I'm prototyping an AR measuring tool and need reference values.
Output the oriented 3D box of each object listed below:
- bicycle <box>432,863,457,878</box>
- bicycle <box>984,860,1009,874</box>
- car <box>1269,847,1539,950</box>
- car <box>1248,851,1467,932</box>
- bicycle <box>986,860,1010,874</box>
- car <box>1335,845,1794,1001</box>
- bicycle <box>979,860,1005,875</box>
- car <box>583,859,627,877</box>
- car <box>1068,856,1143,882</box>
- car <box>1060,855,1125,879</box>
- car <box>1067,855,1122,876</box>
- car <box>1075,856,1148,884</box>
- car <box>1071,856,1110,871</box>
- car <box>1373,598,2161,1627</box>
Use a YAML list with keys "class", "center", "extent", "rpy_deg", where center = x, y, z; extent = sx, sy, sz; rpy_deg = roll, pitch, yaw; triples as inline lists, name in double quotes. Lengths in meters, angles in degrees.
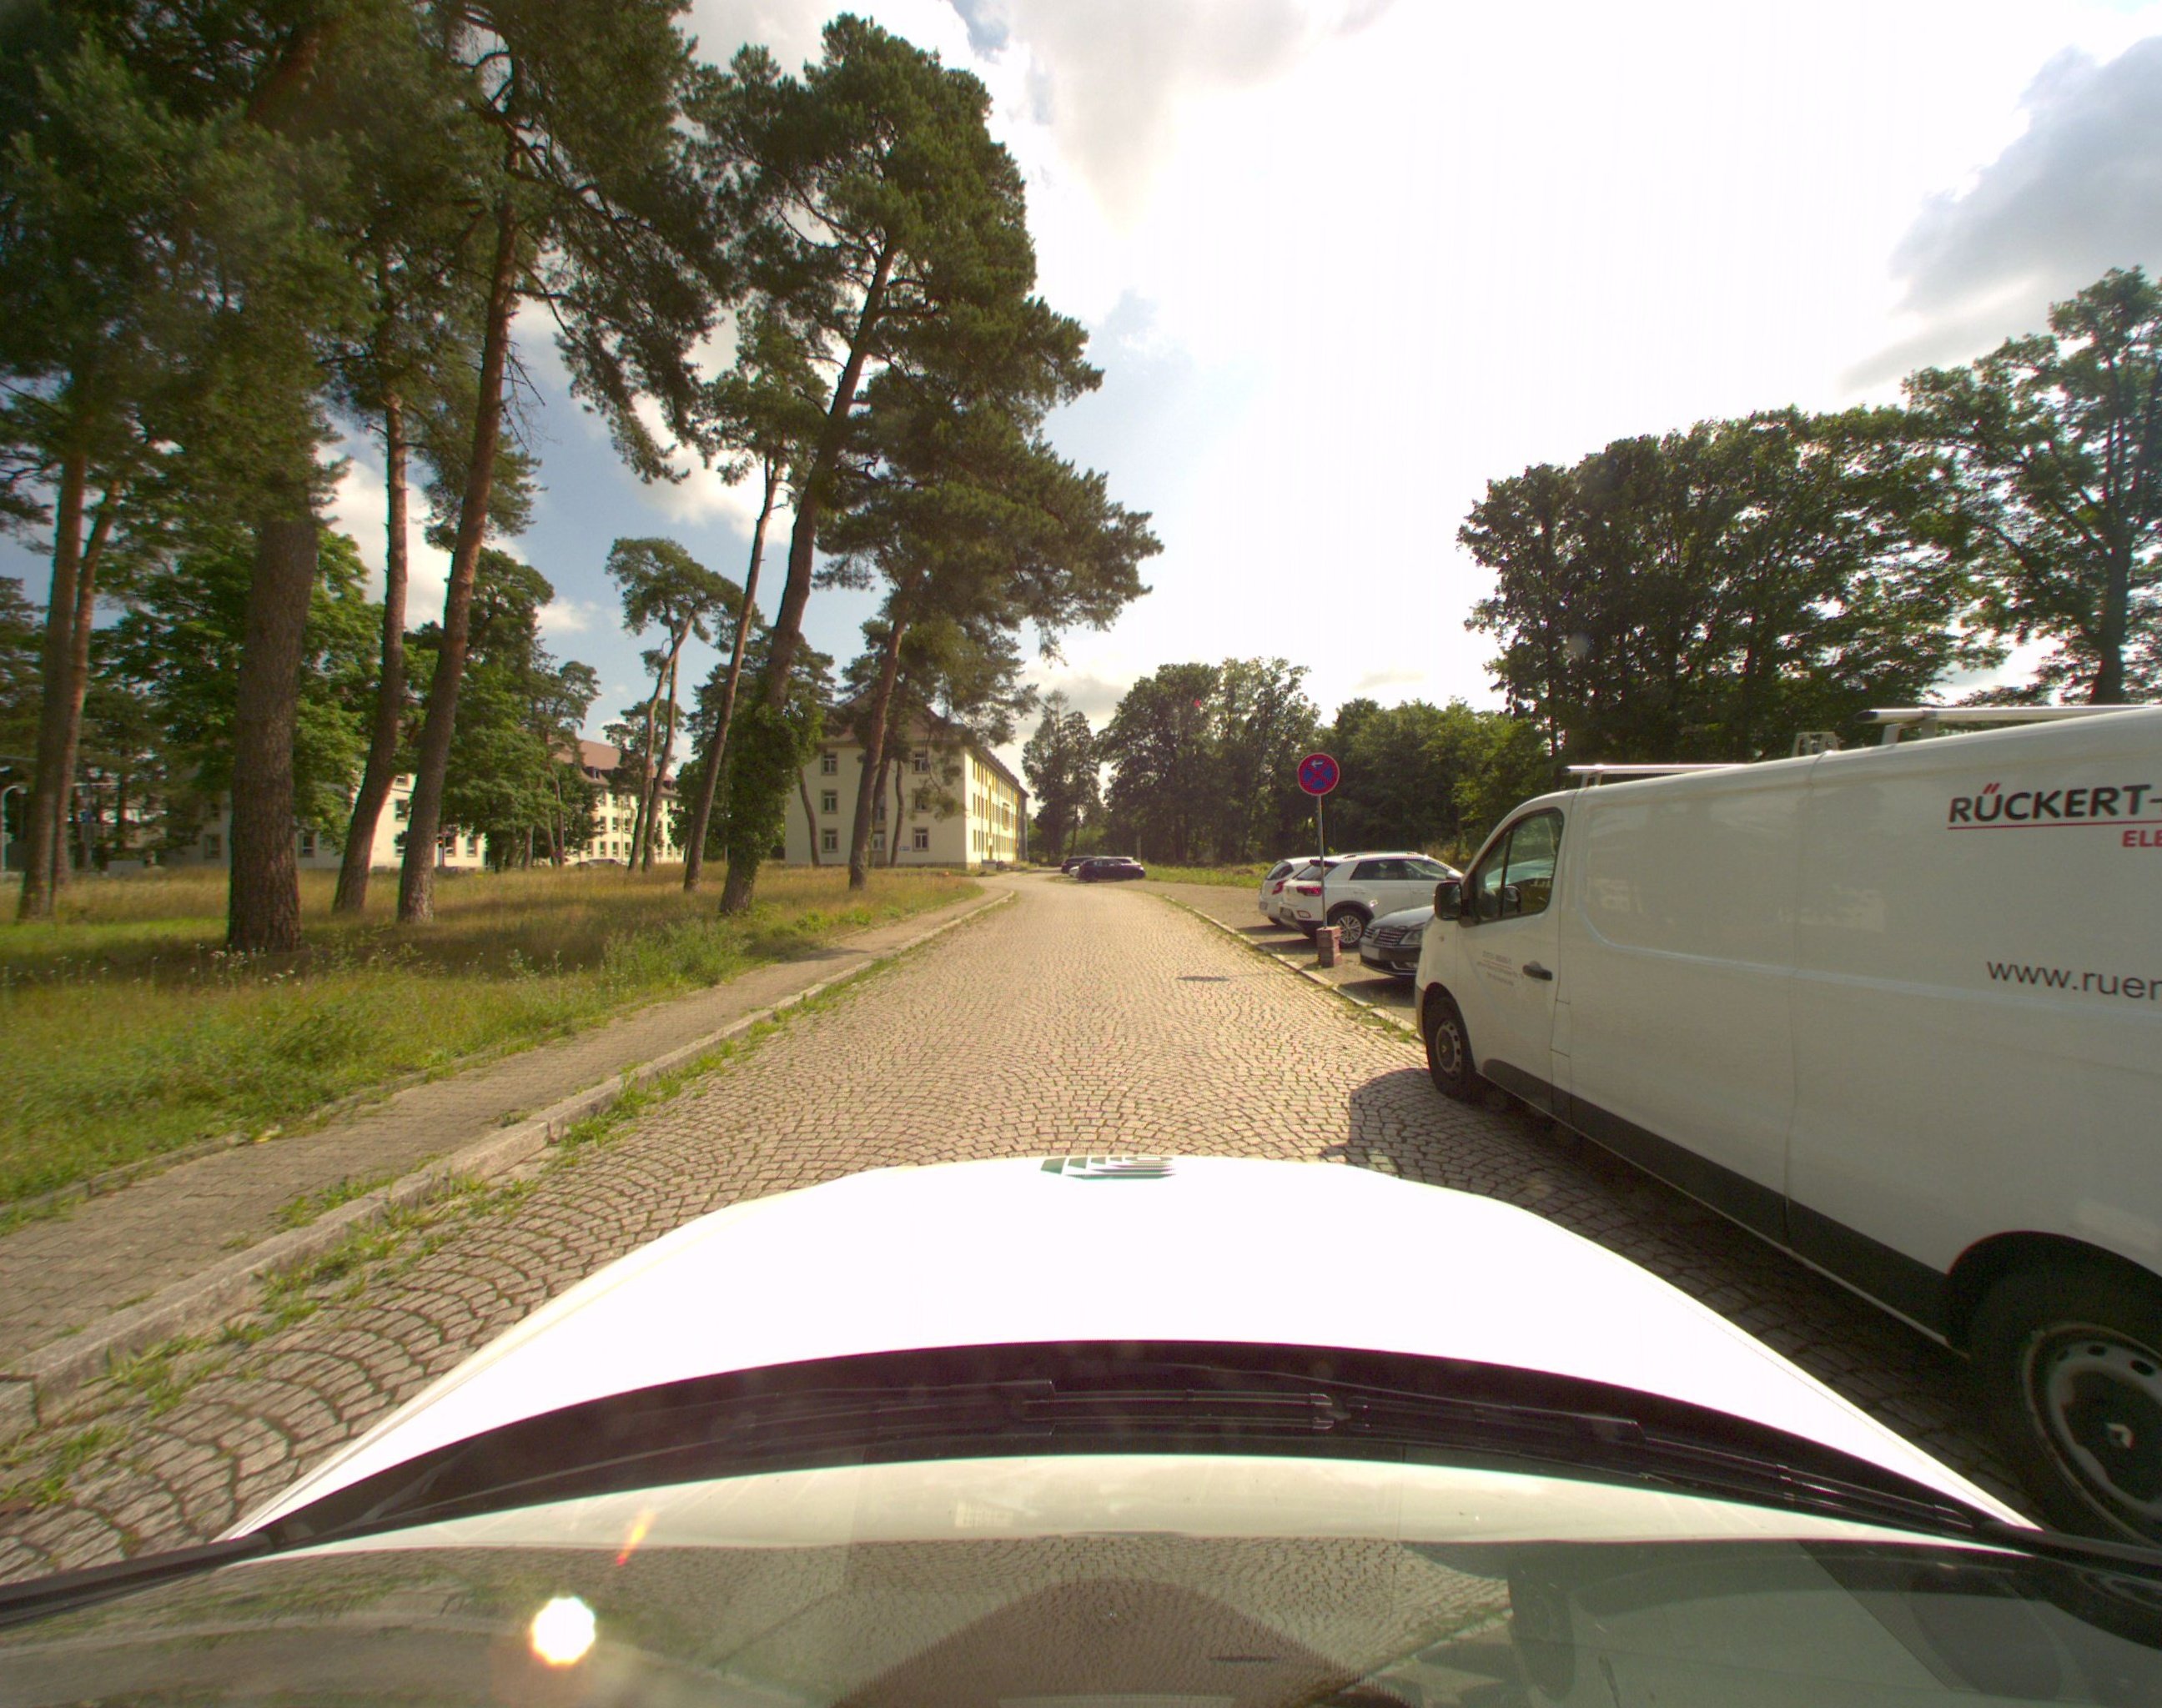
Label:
- class: "bicycle"
  center: [-49.324, 1.258, 63.143]
  extent: [0.486, 1.101, 1.591]
  rpy_deg: [-1, -1, 12]
- class: "bicycle"
  center: [-8.055, 1.259, 77.506]
  extent: [2.210, 1.260, 0.624]
  rpy_deg: [-1, -1, 6]
- class: "car"
  center: [5.500, 0.727, 14.185]
  extent: [3.977, 1.507, 1.745]
  rpy_deg: [-2, 0, -3]
- class: "car"
  center: [5.776, 0.754, 17.304]
  extent: [4.032, 1.464, 1.702]
  rpy_deg: [-2, 0, -3]
- class: "bicycle"
  center: [-7.965, 1.239, 78.583]
  extent: [2.213, 1.260, 0.623]
  rpy_deg: [-1, -1, 2]
- class: "car"
  center: [5.513, 0.732, 9.621]
  extent: [4.445, 1.475, 1.743]
  rpy_deg: [-2, 0, -4]
- class: "bicycle"
  center: [-8.283, 1.252, 75.766]
  extent: [2.210, 1.260, 0.624]
  rpy_deg: [-1, -1, 6]
- class: "car"
  center: [-55.248, 1.586, 94.519]
  extent: [4.045, 1.991, 1.713]
  rpy_deg: [-1, -1, 1]
- class: "car"
  center: [1.569, 0.975, 54.075]
  extent: [4.848, 1.472, 1.873]
  rpy_deg: [-2, 1, -2]
- class: "car"
  center: [0.853, 0.971, 61.423]
  extent: [4.839, 1.552, 1.879]
  rpy_deg: [-2, -1, -2]
- class: "car"
  center: [1.112, 0.948, 66.739]
  extent: [4.386, 1.484, 1.765]
  rpy_deg: [-2, -1, -2]
- class: "car"
  center: [1.878, 0.991, 50.919]
  extent: [4.322, 1.500, 1.825]
  rpy_deg: [-2, 1, -8]
- class: "car"
  center: [1.041, 1.047, 89.552]
  extent: [4.171, 1.543, 1.821]
  rpy_deg: [-2, -1, 2]
- class: "car"
  center: [3.156, 0.515, 3.473]
  extent: [1.907, 2.053, 5.680]
  rpy_deg: [-1, 0, 2]
